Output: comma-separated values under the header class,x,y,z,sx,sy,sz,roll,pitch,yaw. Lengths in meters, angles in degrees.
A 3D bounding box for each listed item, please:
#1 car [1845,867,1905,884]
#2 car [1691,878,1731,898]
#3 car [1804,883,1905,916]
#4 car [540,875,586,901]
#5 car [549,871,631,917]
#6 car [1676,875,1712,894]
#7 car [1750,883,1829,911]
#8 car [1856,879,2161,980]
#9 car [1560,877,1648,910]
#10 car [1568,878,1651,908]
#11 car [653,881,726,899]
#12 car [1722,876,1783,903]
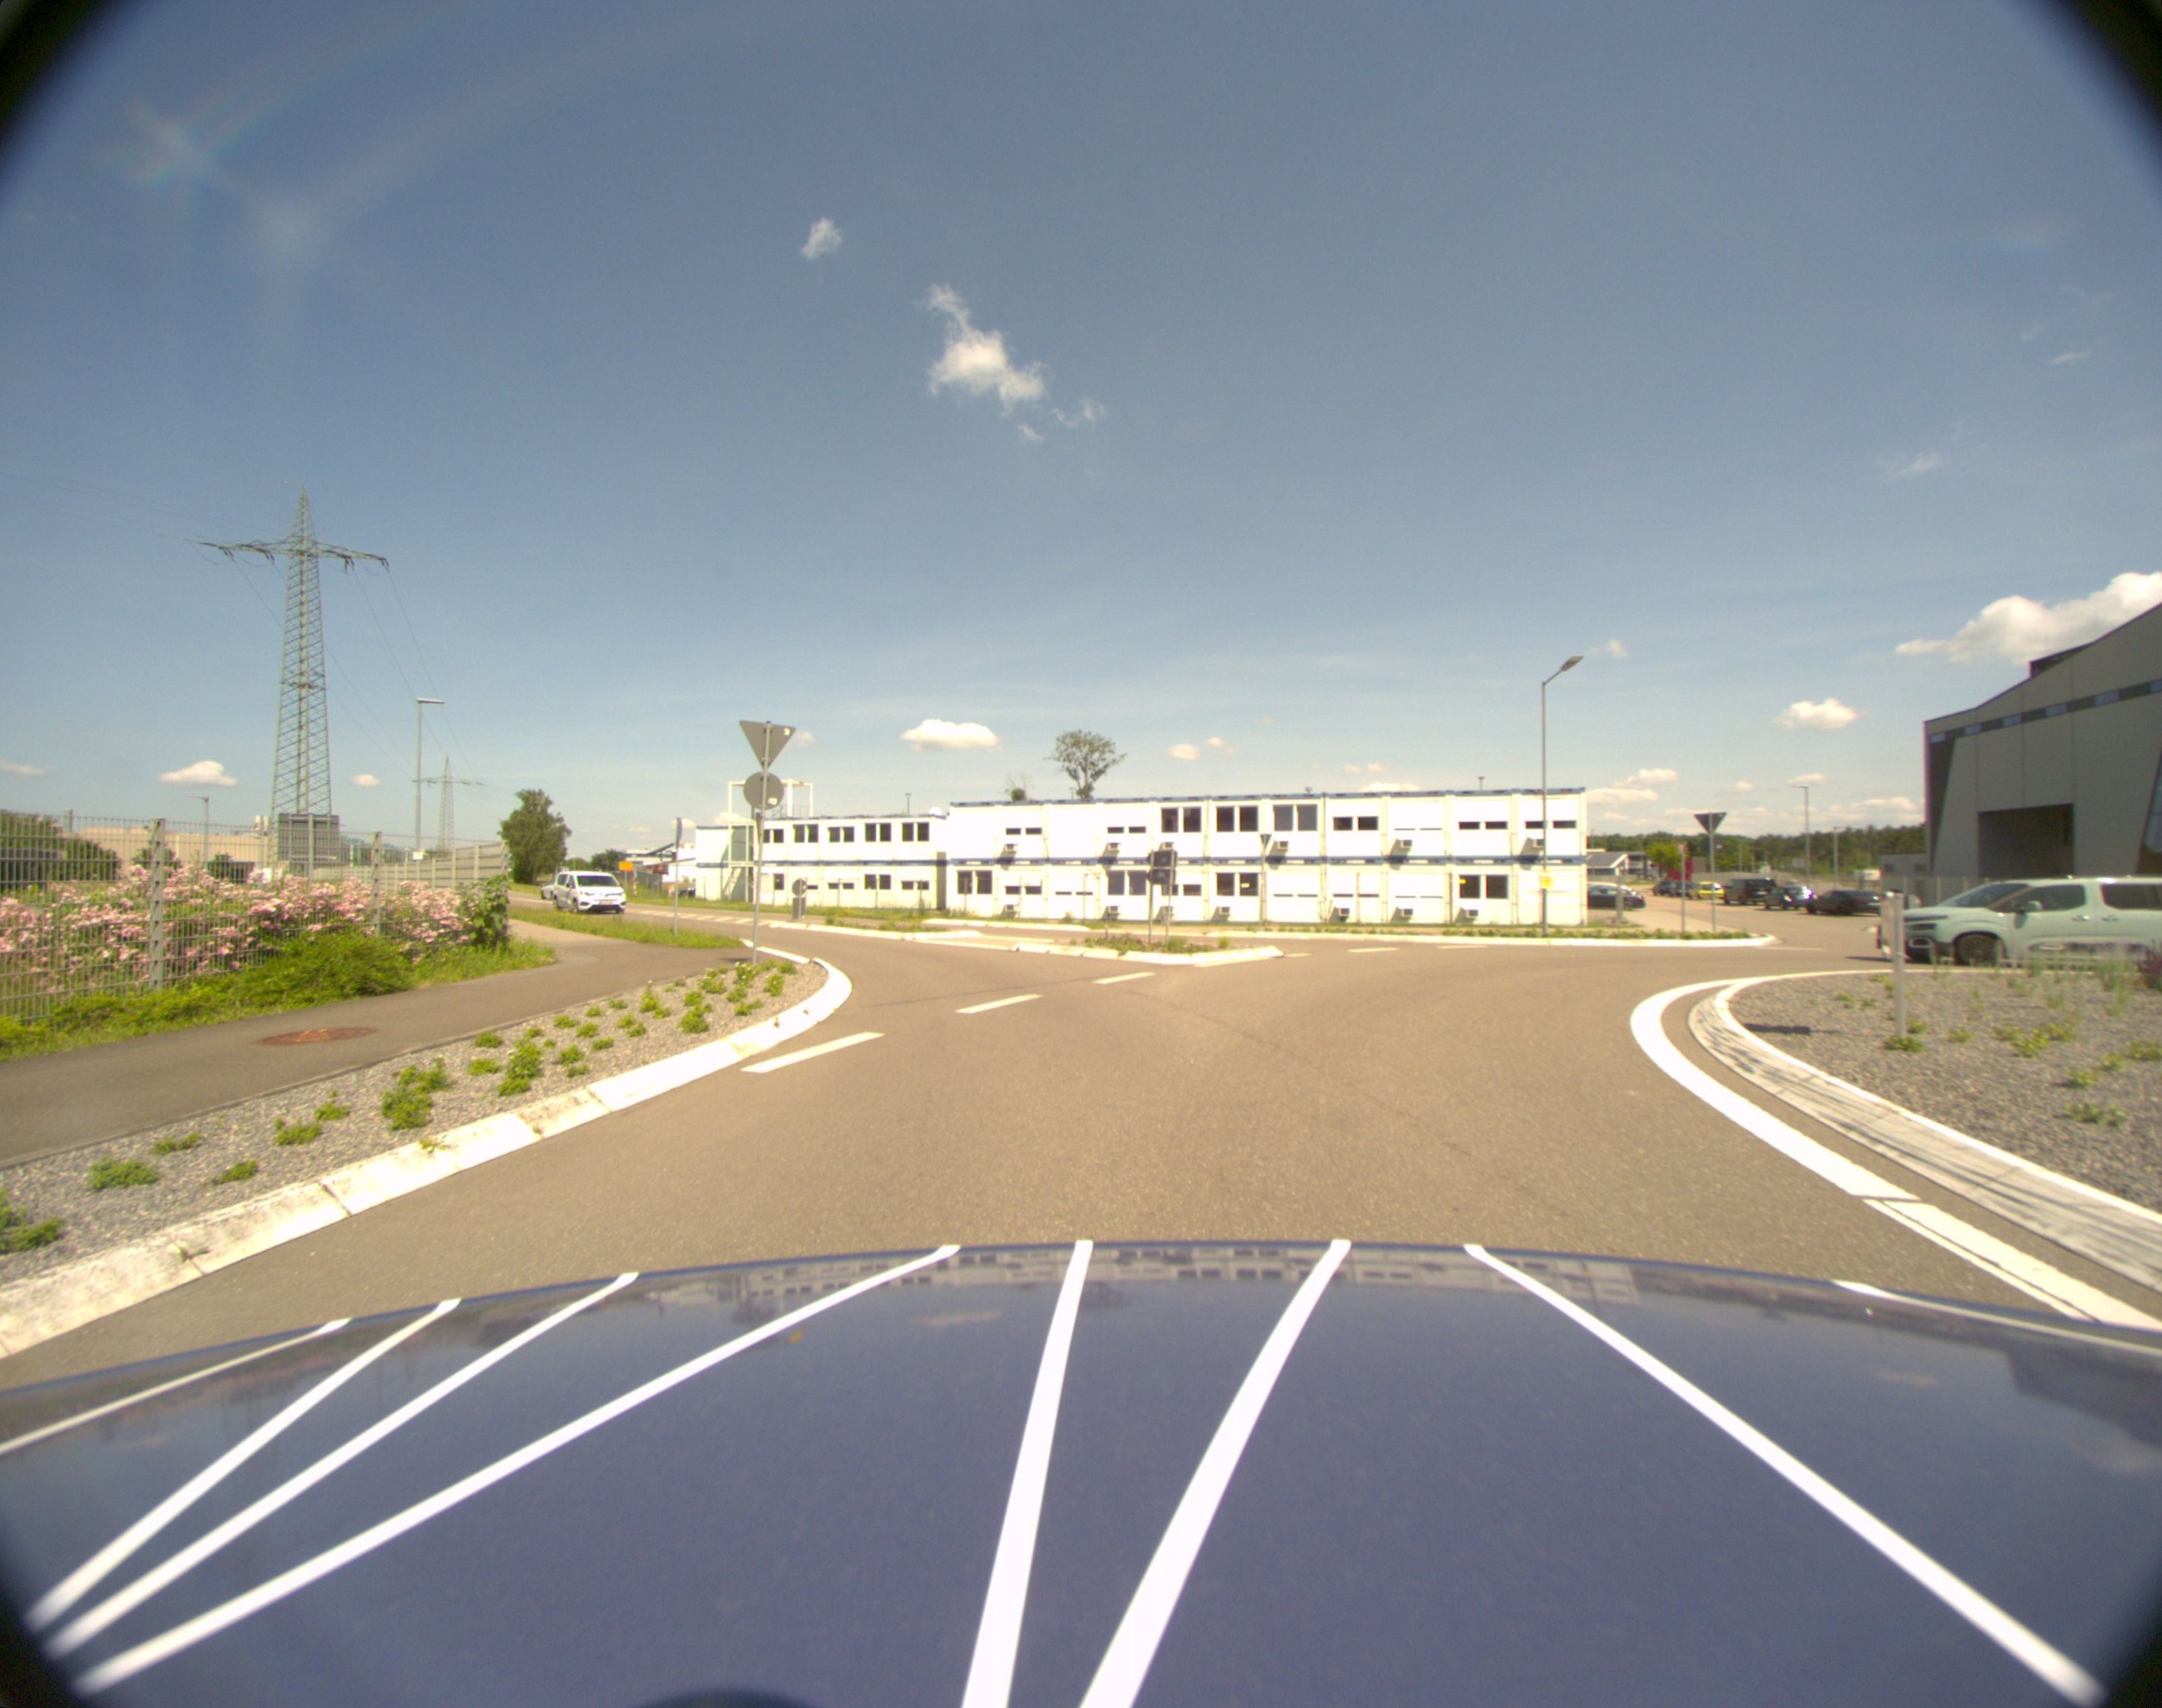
class,x,y,z,sx,sy,sz,roll,pitch,yaw
car,90.215,2.437,86.401,4.305,1.855,2.003,-1,-1,18
car,52.485,2.810,63.385,1.994,1.540,4.323,-1,-1,32
car,42.051,2.436,41.455,1.996,1.540,4.320,0,-1,17
car,-35.201,2.329,51.585,4.043,1.418,1.780,-8,-7,44
car,-21.211,1.672,32.736,4.816,1.795,1.842,-1,-3,44
car,54.728,2.709,67.914,1.994,1.540,4.323,-1,-1,32
car,44.609,2.669,47.973,1.996,1.540,4.320,0,-1,18
car,18.813,1.398,14.951,4.549,1.768,2.004,0,-1,25
car,32.090,2.388,46.800,4.302,1.855,2.004,-1,-1,30
car,34.563,2.524,49.819,4.302,1.855,2.004,-1,-1,30
car,-32.143,2.914,62.538,1.994,1.408,4.996,-1,-2,35
car,47.737,2.480,54.112,1.995,1.820,4.322,-1,-1,23
